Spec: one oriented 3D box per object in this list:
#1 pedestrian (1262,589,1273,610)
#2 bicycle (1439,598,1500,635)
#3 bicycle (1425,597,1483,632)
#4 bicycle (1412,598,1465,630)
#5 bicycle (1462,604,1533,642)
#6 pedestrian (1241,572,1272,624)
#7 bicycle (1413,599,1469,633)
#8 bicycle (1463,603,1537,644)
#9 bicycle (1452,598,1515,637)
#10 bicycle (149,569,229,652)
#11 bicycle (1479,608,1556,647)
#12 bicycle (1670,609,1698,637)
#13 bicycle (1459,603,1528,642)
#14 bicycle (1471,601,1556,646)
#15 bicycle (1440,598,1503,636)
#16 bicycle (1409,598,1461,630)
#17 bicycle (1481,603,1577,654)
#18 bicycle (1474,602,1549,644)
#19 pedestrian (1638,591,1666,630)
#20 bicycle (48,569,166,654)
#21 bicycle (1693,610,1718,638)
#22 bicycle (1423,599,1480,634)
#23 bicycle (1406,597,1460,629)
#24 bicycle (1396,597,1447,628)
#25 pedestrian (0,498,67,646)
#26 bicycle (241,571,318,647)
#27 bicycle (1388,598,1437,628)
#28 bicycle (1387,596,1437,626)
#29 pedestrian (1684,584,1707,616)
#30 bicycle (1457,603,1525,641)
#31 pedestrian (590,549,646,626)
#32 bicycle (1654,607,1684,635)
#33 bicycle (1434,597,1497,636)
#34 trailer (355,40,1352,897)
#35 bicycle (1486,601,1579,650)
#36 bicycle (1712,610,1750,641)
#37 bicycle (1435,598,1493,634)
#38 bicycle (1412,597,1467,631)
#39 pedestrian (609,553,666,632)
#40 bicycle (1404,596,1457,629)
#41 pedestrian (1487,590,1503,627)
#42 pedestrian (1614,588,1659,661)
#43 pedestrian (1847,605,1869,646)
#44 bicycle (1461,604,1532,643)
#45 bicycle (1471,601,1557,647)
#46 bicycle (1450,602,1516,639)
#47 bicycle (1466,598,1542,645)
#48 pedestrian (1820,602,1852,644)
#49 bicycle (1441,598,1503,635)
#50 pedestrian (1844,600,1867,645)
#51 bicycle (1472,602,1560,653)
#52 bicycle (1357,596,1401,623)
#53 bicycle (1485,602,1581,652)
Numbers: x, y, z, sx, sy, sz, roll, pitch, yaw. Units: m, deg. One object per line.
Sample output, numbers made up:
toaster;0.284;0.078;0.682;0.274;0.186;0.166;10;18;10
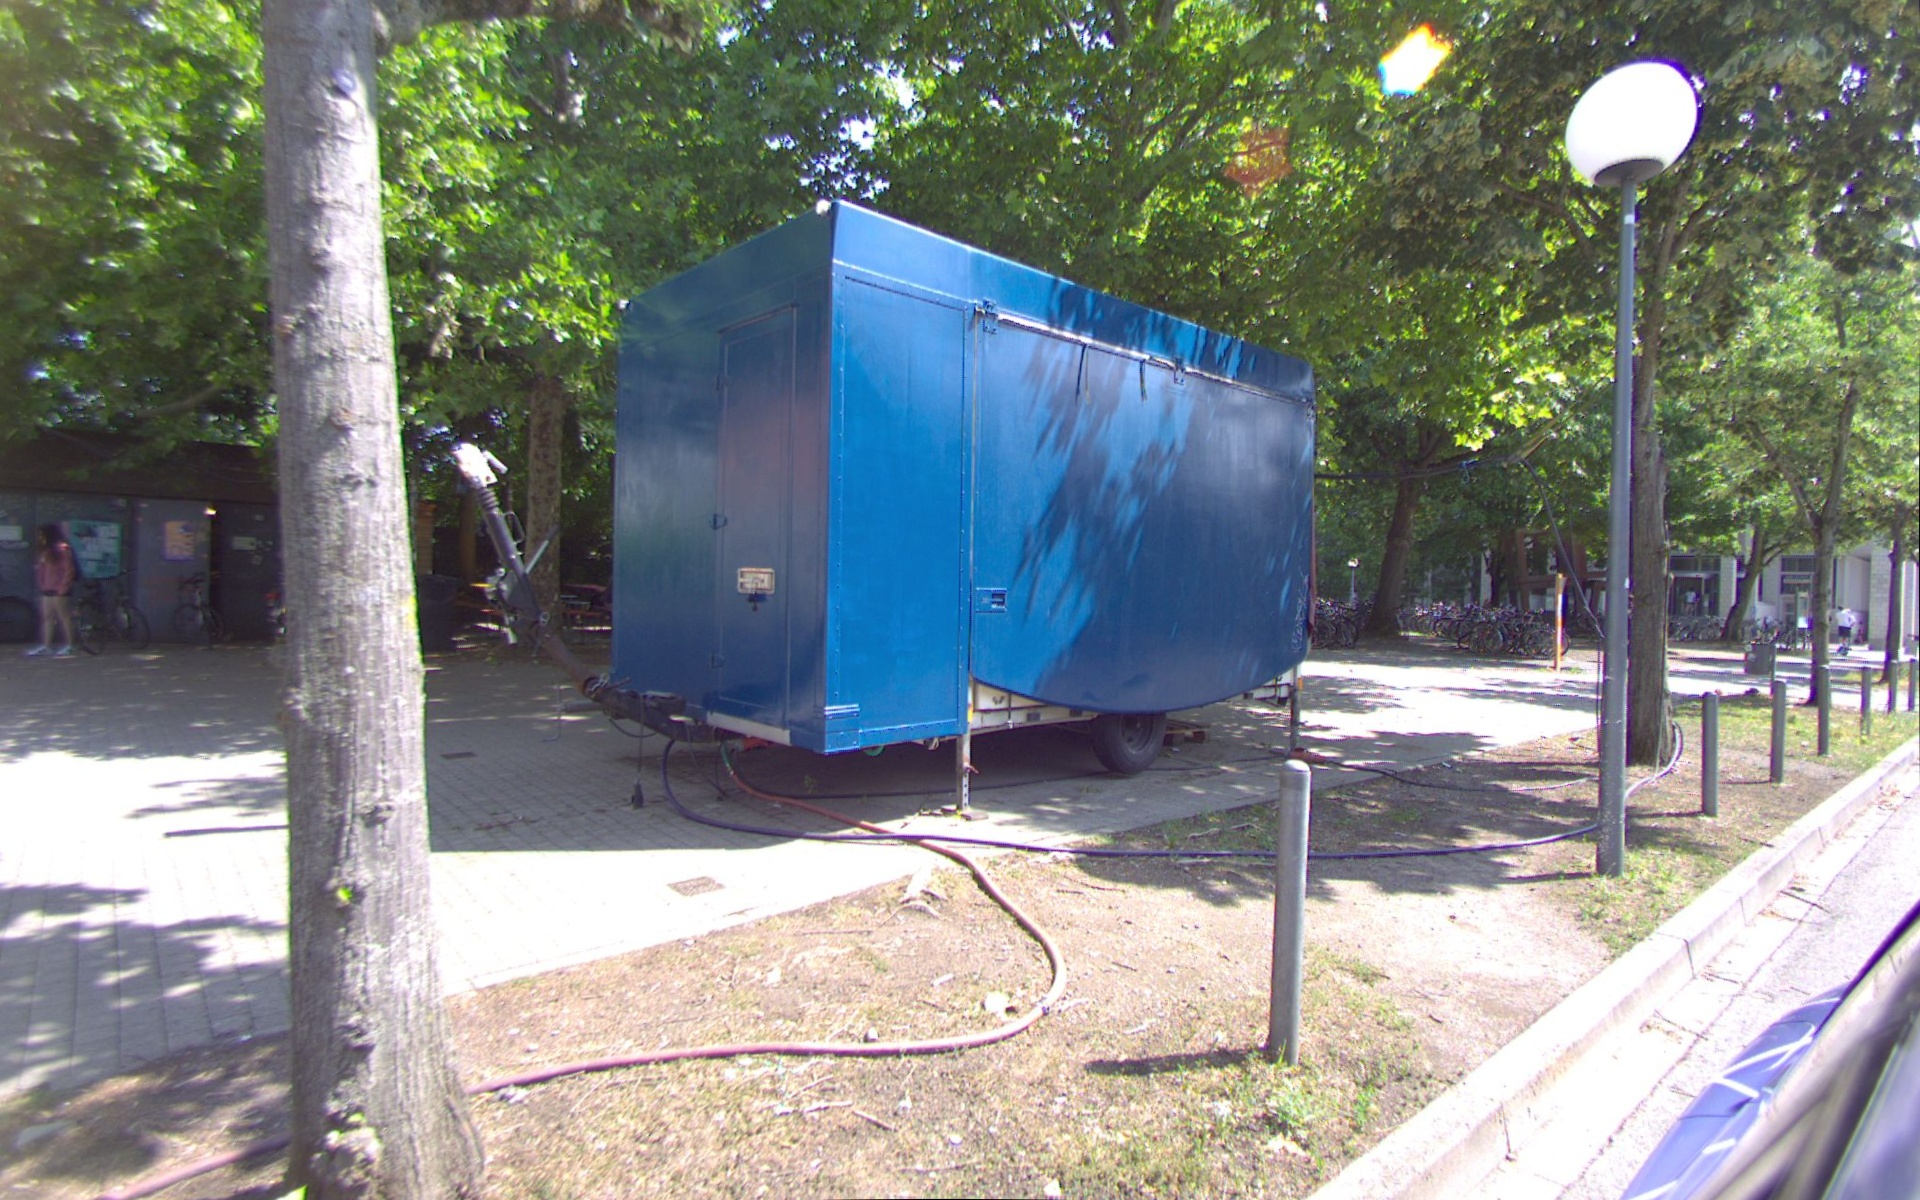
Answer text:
pedestrian;18.149;-0.038;59.687;0.379;1.228;0.403;3;0;-33
bicycle;17.714;0.572;35.198;1.819;1.185;0.344;3;0;15
bicycle;18.004;0.528;36.898;1.817;1.185;0.344;3;0;12
bicycle;19.324;0.558;40.897;1.817;1.185;0.387;3;0;12
bicycle;15.946;0.674;30.059;1.769;1.041;0.380;3;0;18
pedestrian;10.640;-0.075;36.303;0.709;1.797;0.743;3;0;-44
bicycle;18.201;0.588;38.313;1.817;1.185;0.352;3;0;12
bicycle;15.414;0.665;28.906;1.772;1.041;0.438;3;0;17
bicycle;17.489;0.571;33.837;1.767;1.185;0.401;3;0;15
bicycle;-11.208;0.118;14.770;0.768;1.085;2.405;1;1;-34
bicycle;14.997;0.729;27.261;1.717;0.921;0.491;3;1;20
bicycle;30.662;0.960;42.842;1.486;1.099;0.482;4;1;-37
bicycle;16.303;0.687;30.941;1.770;1.083;0.424;3;0;19
bicycle;14.527;0.608;26.592;1.895;1.072;0.322;3;1;26
bicycle;17.426;0.572;34.528;1.819;1.185;0.401;3;0;15
bicycle;19.030;0.551;40.569;1.817;1.185;0.352;3;0;12
bicycle;13.618;0.664;24.261;1.939;1.096;0.399;3;1;38
bicycle;15.462;0.644;28.399;1.712;1.065;0.493;3;0;13
pedestrian;31.876;0.486;46.613;0.737;1.762;0.935;1;0;-44
bicycle;-11.928;0.121;14.230;0.767;1.085;2.408;1;1;-28
bicycle;31.068;0.996;42.186;1.447;1.099;0.460;4;1;-41
bicycle;18.071;0.586;37.236;1.817;1.185;0.344;3;0;12
bicycle;18.424;0.500;39.437;1.817;1.185;0.352;3;0;12
bicycle;19.157;0.531;42.022;1.815;1.185;0.412;3;0;10
pedestrian;-12.191;-0.362;13.333;0.519;1.906;0.449;2;0;-31
bicycle;-10.533;0.119;15.728;0.767;1.085;2.407;1;0;-29
bicycle;19.378;0.565;43.379;1.815;1.185;0.412;3;0;10
bicycle;19.069;0.459;42.728;1.815;1.185;0.412;3;0;10
pedestrian;41.883;0.003;57.639;0.793;1.819;0.621;2;1;-9
bicycle;16.440;0.680;31.357;1.770;1.083;0.424;3;0;19
pedestrian;-6.332;-0.227;18.747;0.570;1.363;0.717;6;3;44
bicycle;30.133;0.909;43.026;1.664;1.099;0.482;4;1;-37
bicycle;16.781;0.549;33.611;1.767;1.185;0.401;3;0;15
trailer;-0.185;-0.496;6.755;6.151;3.089;2.696;1;2;-43
bicycle;14.235;0.626;25.203;1.939;1.096;0.399;3;1;38
bicycle;31.478;1.024;41.326;1.494;1.155;0.493;4;1;-22
bicycle;17.946;0.553;36.048;1.811;1.185;0.345;3;0;2
bicycle;18.318;0.524;38.680;1.817;1.185;0.352;3;0;12
pedestrian;-5.804;-0.137;18.206;0.570;1.363;0.717;6;3;44
bicycle;18.493;0.490;39.787;1.817;1.185;0.352;3;0;12
pedestrian;25.731;0.406;48.702;0.426;1.725;0.929;0;-1;44
pedestrian;15.497;0.538;23.183;0.911;1.590;0.569;-3;5;-41
pedestrian;39.546;1.102;44.564;0.533;1.751;0.613;1;1;-40
bicycle;15.752;0.681;29.747;1.769;1.041;0.380;3;0;17
bicycle;14.387;0.609;26.318;1.895;1.072;0.322;3;1;26
bicycle;16.607;0.634;32.142;1.772;1.083;0.423;3;1;21
bicycle;14.939;0.577;27.810;1.712;1.169;0.493;3;0;13
pedestrian;39.053;1.031;45.131;0.795;1.819;0.619;2;1;5
bicycle;17.612;0.555;34.861;1.819;1.185;0.344;3;0;15
pedestrian;38.841;0.984;43.896;0.675;1.914;0.685;0;1;-44
bicycle;13.218;0.637;24.100;1.763;1.096;0.432;3;1;38
bicycle;19.426;0.433;46.922;1.812;1.185;0.345;3;0;4
bicycle;13.899;0.638;24.583;1.939;1.096;0.399;3;1;38
